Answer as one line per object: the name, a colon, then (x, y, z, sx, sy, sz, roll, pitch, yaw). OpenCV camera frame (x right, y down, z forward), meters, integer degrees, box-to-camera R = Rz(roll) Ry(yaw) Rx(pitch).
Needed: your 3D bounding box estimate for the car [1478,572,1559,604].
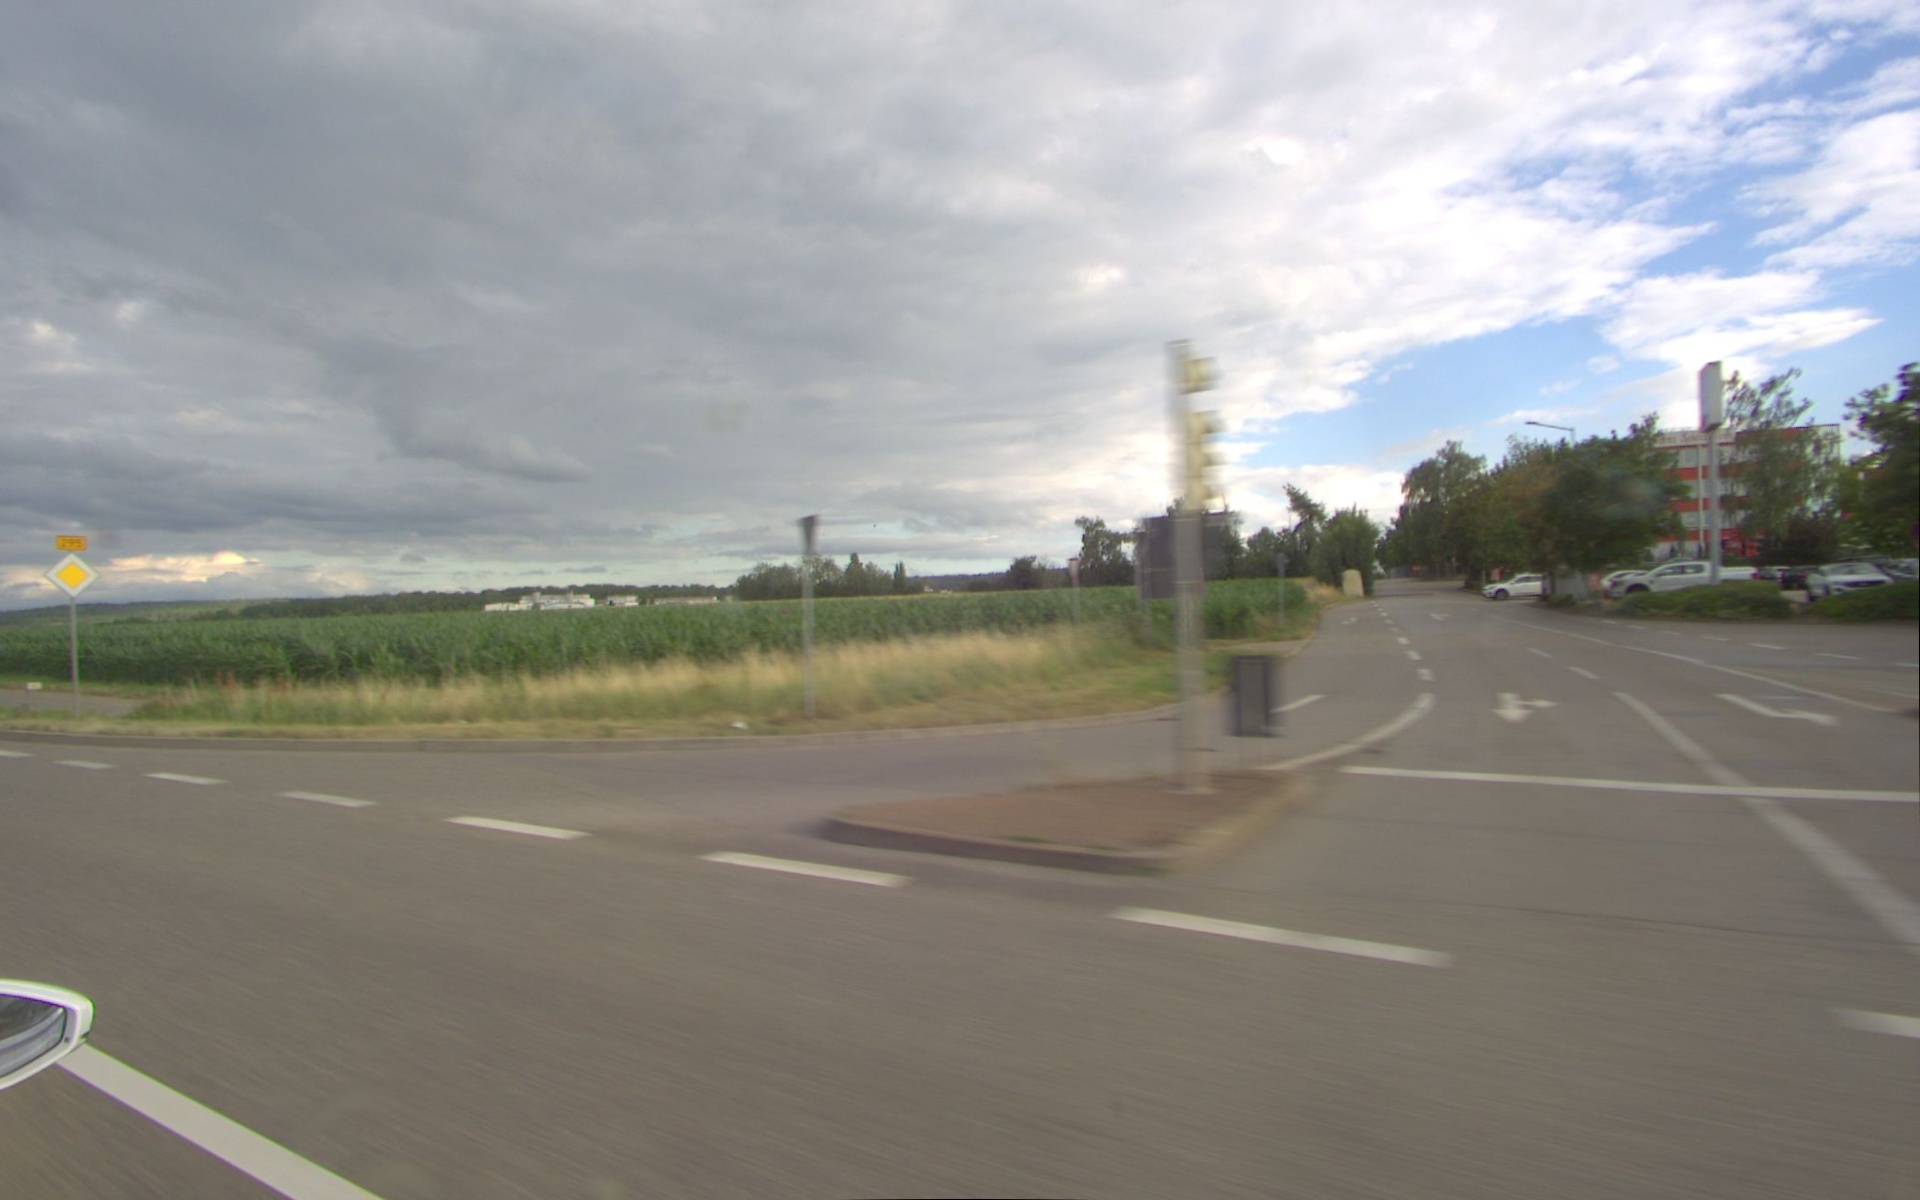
car: (34.917, -0.744, 62.750, 4.259, 1.802, 1.993, -2, 0, 25)

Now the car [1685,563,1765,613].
car: (31.292, -0.524, 41.089, 1.931, 1.909, 4.285, -2, 1, 29)

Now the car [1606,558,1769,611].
car: (32.232, -0.661, 44.589, 5.524, 2.040, 1.993, -2, 0, 25)

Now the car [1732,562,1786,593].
car: (50.262, -1.440, 63.065, 1.931, 1.850, 4.285, -2, 1, 29)

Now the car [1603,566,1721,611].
car: (32.992, -0.545, 47.198, 4.236, 1.909, 1.953, -2, 2, 25)

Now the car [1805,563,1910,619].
car: (33.092, -0.364, 37.063, 1.931, 1.909, 4.285, -2, 1, 29)

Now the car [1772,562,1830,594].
car: (52.523, -1.412, 62.621, 1.931, 1.850, 4.285, -2, 1, 29)

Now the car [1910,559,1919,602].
car: (41.162, -0.816, 41.185, 1.931, 1.850, 4.285, -2, 1, 29)

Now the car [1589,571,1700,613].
car: (34.072, -0.416, 49.985, 4.236, 1.909, 1.953, -2, 2, 25)

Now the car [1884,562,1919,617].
car: (35.161, -0.435, 35.918, 1.931, 1.877, 4.285, -2, 1, 29)

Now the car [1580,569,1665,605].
car: (40.756, -0.773, 61.689, 3.931, 2.039, 1.997, -2, -3, 20)
